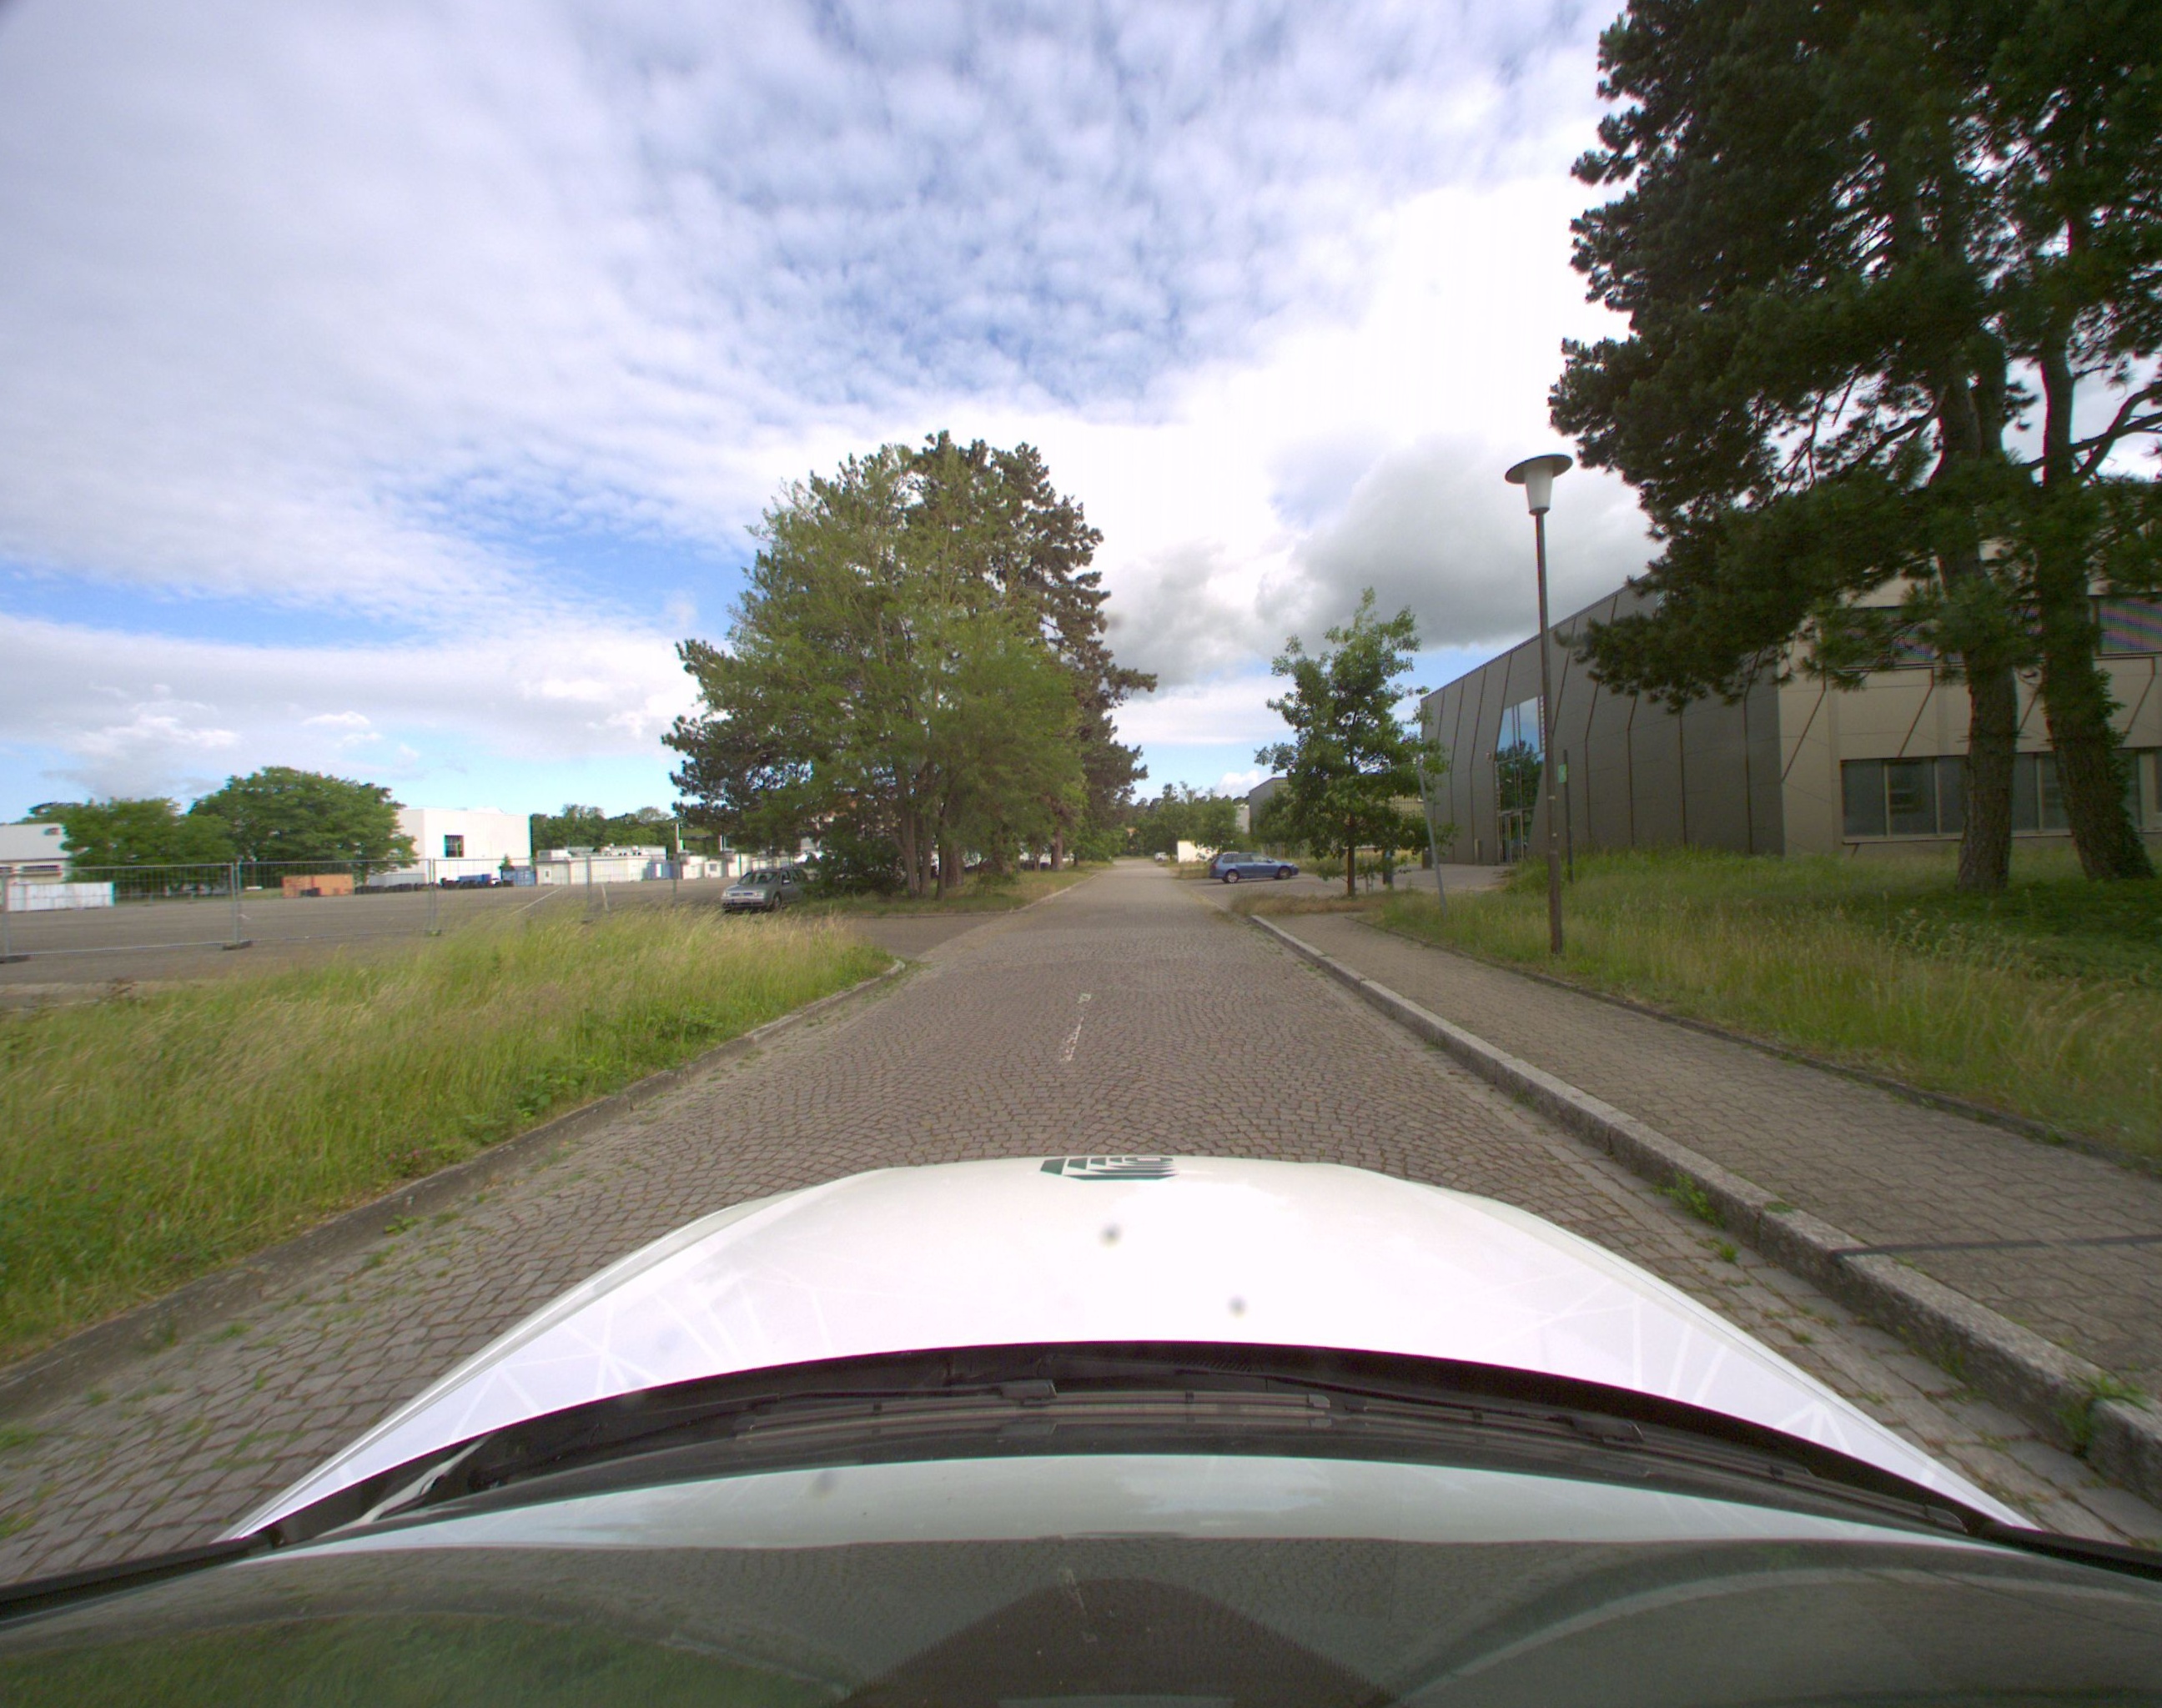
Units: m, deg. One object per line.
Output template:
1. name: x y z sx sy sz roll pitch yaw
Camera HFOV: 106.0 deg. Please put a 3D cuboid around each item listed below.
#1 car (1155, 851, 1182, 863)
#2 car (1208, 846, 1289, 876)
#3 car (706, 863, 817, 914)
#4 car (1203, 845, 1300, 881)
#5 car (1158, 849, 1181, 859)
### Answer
1. car: 14.496 0.477 135.079 4.337 1.687 1.927 -2 0 3
2. car: 9.997 0.406 48.894 4.497 1.531 2.002 -4 0 4
3. car: -10.808 1.121 27.918 1.912 1.477 4.370 -2 0 1
4. car: 8.642 0.463 41.589 4.502 1.531 2.000 -4 0 0
5. car: 16.884 0.031 155.993 4.334 1.780 1.928 -2 0 5
